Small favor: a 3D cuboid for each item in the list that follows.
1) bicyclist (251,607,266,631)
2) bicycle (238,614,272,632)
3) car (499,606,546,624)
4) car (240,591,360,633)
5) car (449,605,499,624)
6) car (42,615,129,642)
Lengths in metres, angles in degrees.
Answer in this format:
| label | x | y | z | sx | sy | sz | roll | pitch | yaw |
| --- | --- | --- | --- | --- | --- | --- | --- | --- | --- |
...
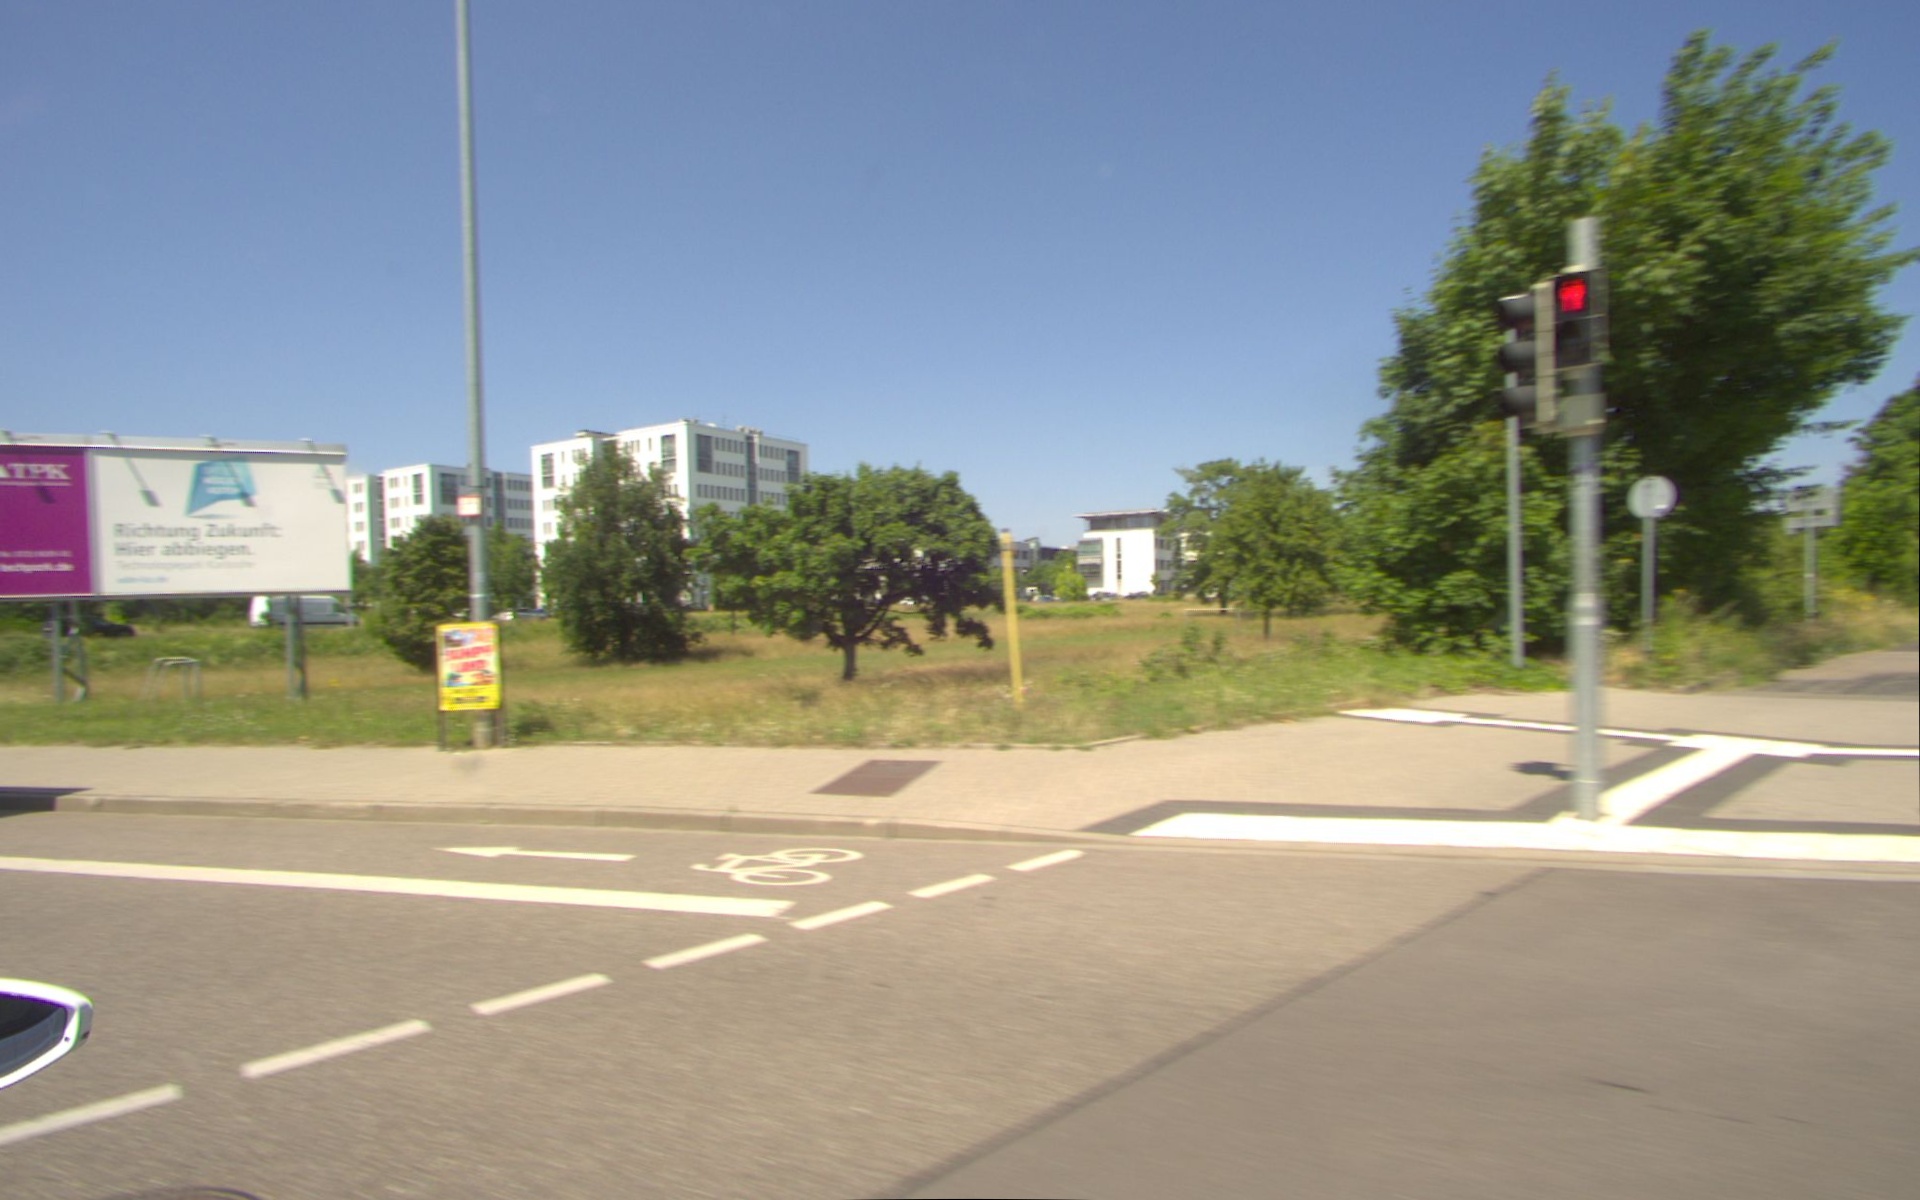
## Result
| label | x | y | z | sx | sy | sz | roll | pitch | yaw |
| --- | --- | --- | --- | --- | --- | --- | --- | --- | --- |
| bicyclist | -50.004 | 1.338 | 71.361 | 0.599 | 1.646 | 0.690 | 2 | 3 | 27 |
| bicycle | -50.103 | 1.650 | 71.177 | 0.604 | 1.196 | 1.957 | 2 | 2 | 26 |
| car | -39.012 | 1.368 | 89.309 | 1.679 | 1.552 | 3.614 | -1 | -2 | 27 |
| car | -47.507 | 0.877 | 72.282 | 2.626 | 2.838 | 6.829 | -2 | -1 | 26 |
| car | -41.253 | 1.228 | 85.041 | 1.679 | 1.552 | 3.614 | -1 | -2 | 27 |
| car | -52.724 | 1.734 | 60.465 | 1.677 | 1.552 | 3.620 | -1 | -2 | 22 |
